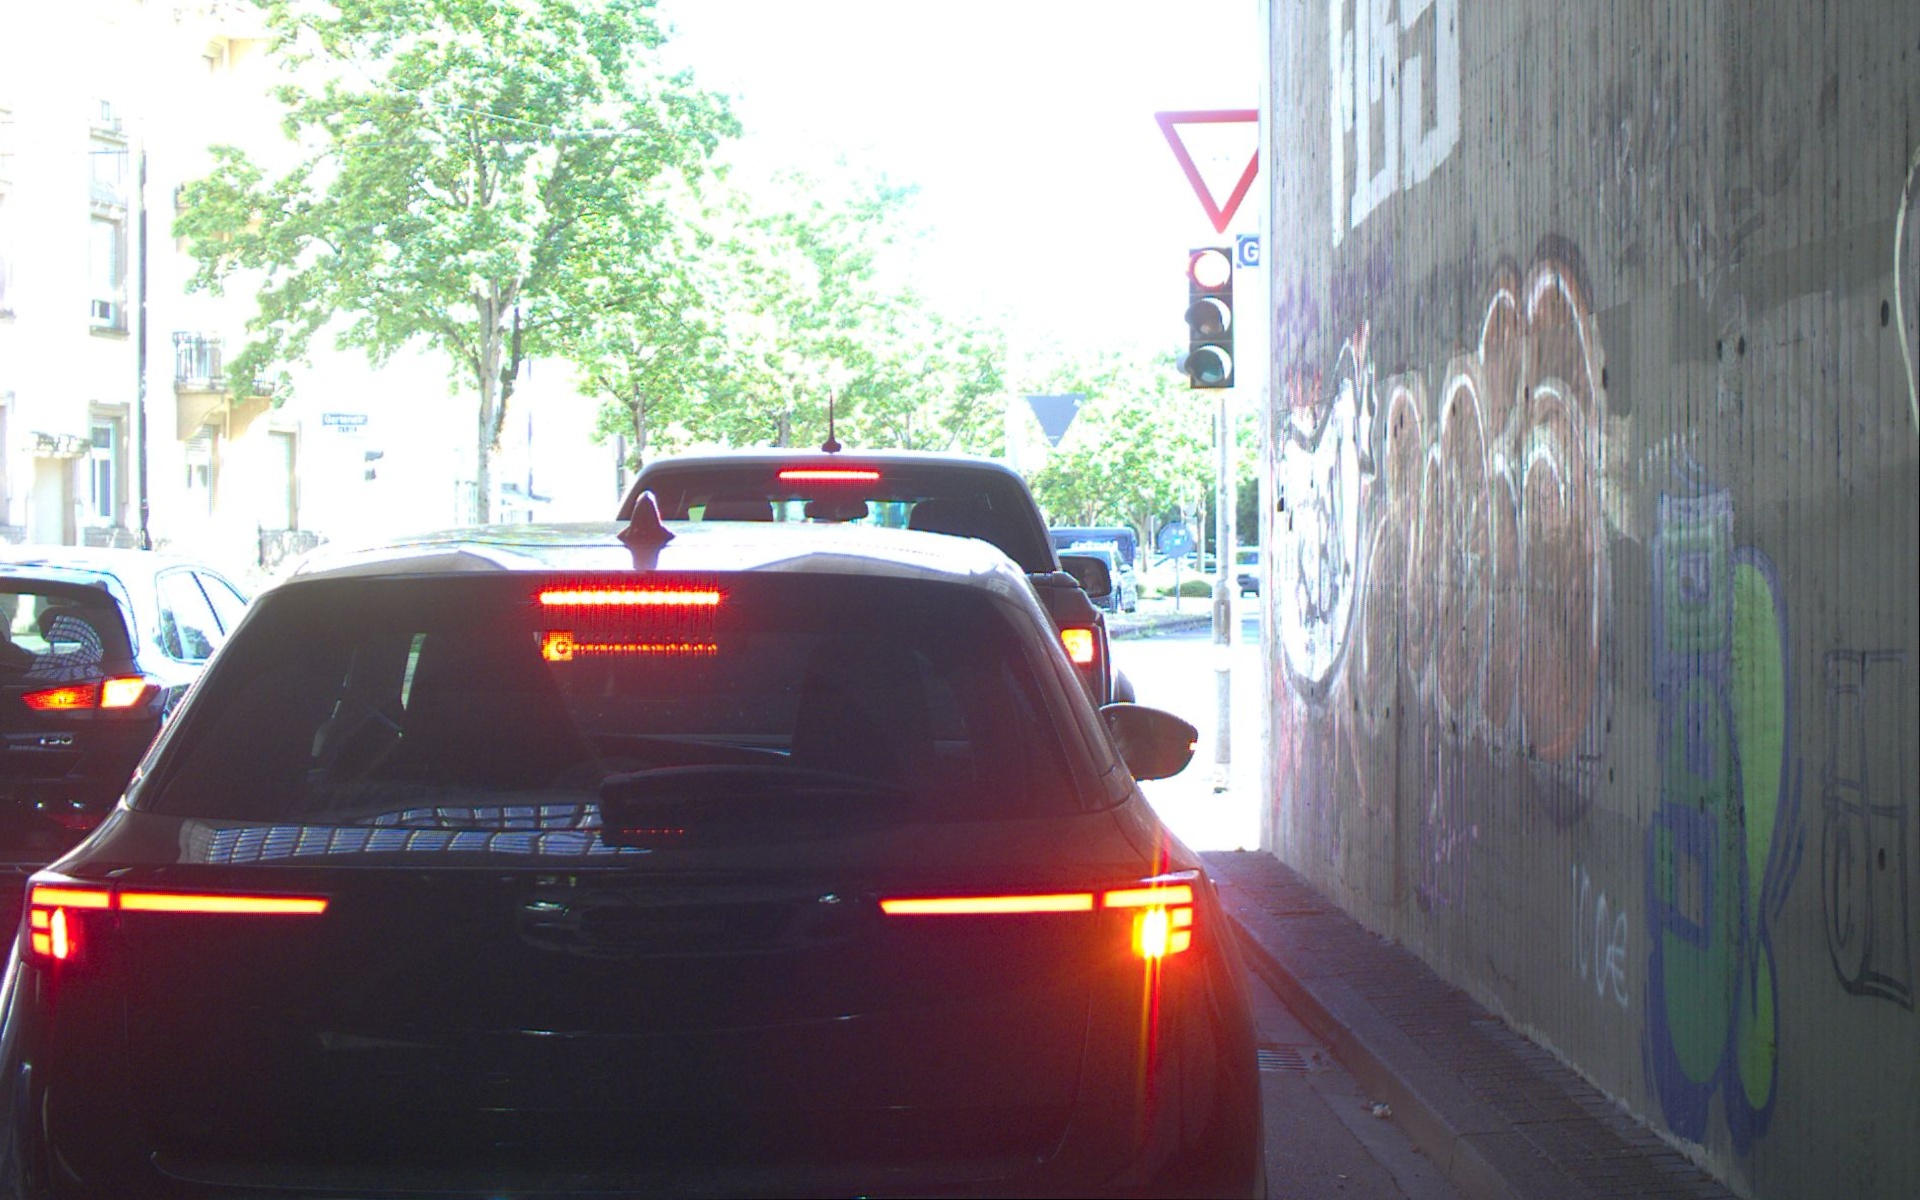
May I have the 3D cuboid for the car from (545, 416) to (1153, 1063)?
[{"bbox_3d":[-0.347,0.373,12.049,1.762,1.876,4.146,0,1,-1],"label":"car"}]

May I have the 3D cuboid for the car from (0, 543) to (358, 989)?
[{"bbox_3d":[-3.524,0.517,13.297,1.762,1.475,3.844,0,1,-1],"label":"car"}]

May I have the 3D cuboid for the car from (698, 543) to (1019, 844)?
[{"bbox_3d":[-0.531,0.435,19.269,1.609,1.508,4.054,0,1,-1],"label":"car"}]

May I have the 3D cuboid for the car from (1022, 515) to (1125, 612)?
[{"bbox_3d":[2.082,-0.658,62.205,1.754,1.661,3.944,1,1,3],"label":"car"}]

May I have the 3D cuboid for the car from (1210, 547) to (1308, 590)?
[{"bbox_3d":[11.887,-1.250,136.622,1.821,1.661,4.806,1,1,33],"label":"car"}]

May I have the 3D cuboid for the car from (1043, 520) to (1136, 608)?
[{"bbox_3d":[2.603,-0.712,68.324,1.754,1.661,3.944,1,1,3],"label":"car"}]

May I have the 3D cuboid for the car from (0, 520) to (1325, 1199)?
[{"bbox_3d":[-0.475,0.636,6.109,1.762,1.526,4.089,0,1,-1],"label":"car"}]

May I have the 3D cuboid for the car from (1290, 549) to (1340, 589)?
[{"bbox_3d":[14.965,-1.313,144.841,1.754,1.661,3.943,1,1,11],"label":"car"}]

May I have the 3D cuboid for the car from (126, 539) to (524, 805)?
[{"bbox_3d":[-3.773,0.370,21.021,1.762,1.475,3.844,0,1,-1],"label":"car"}]
